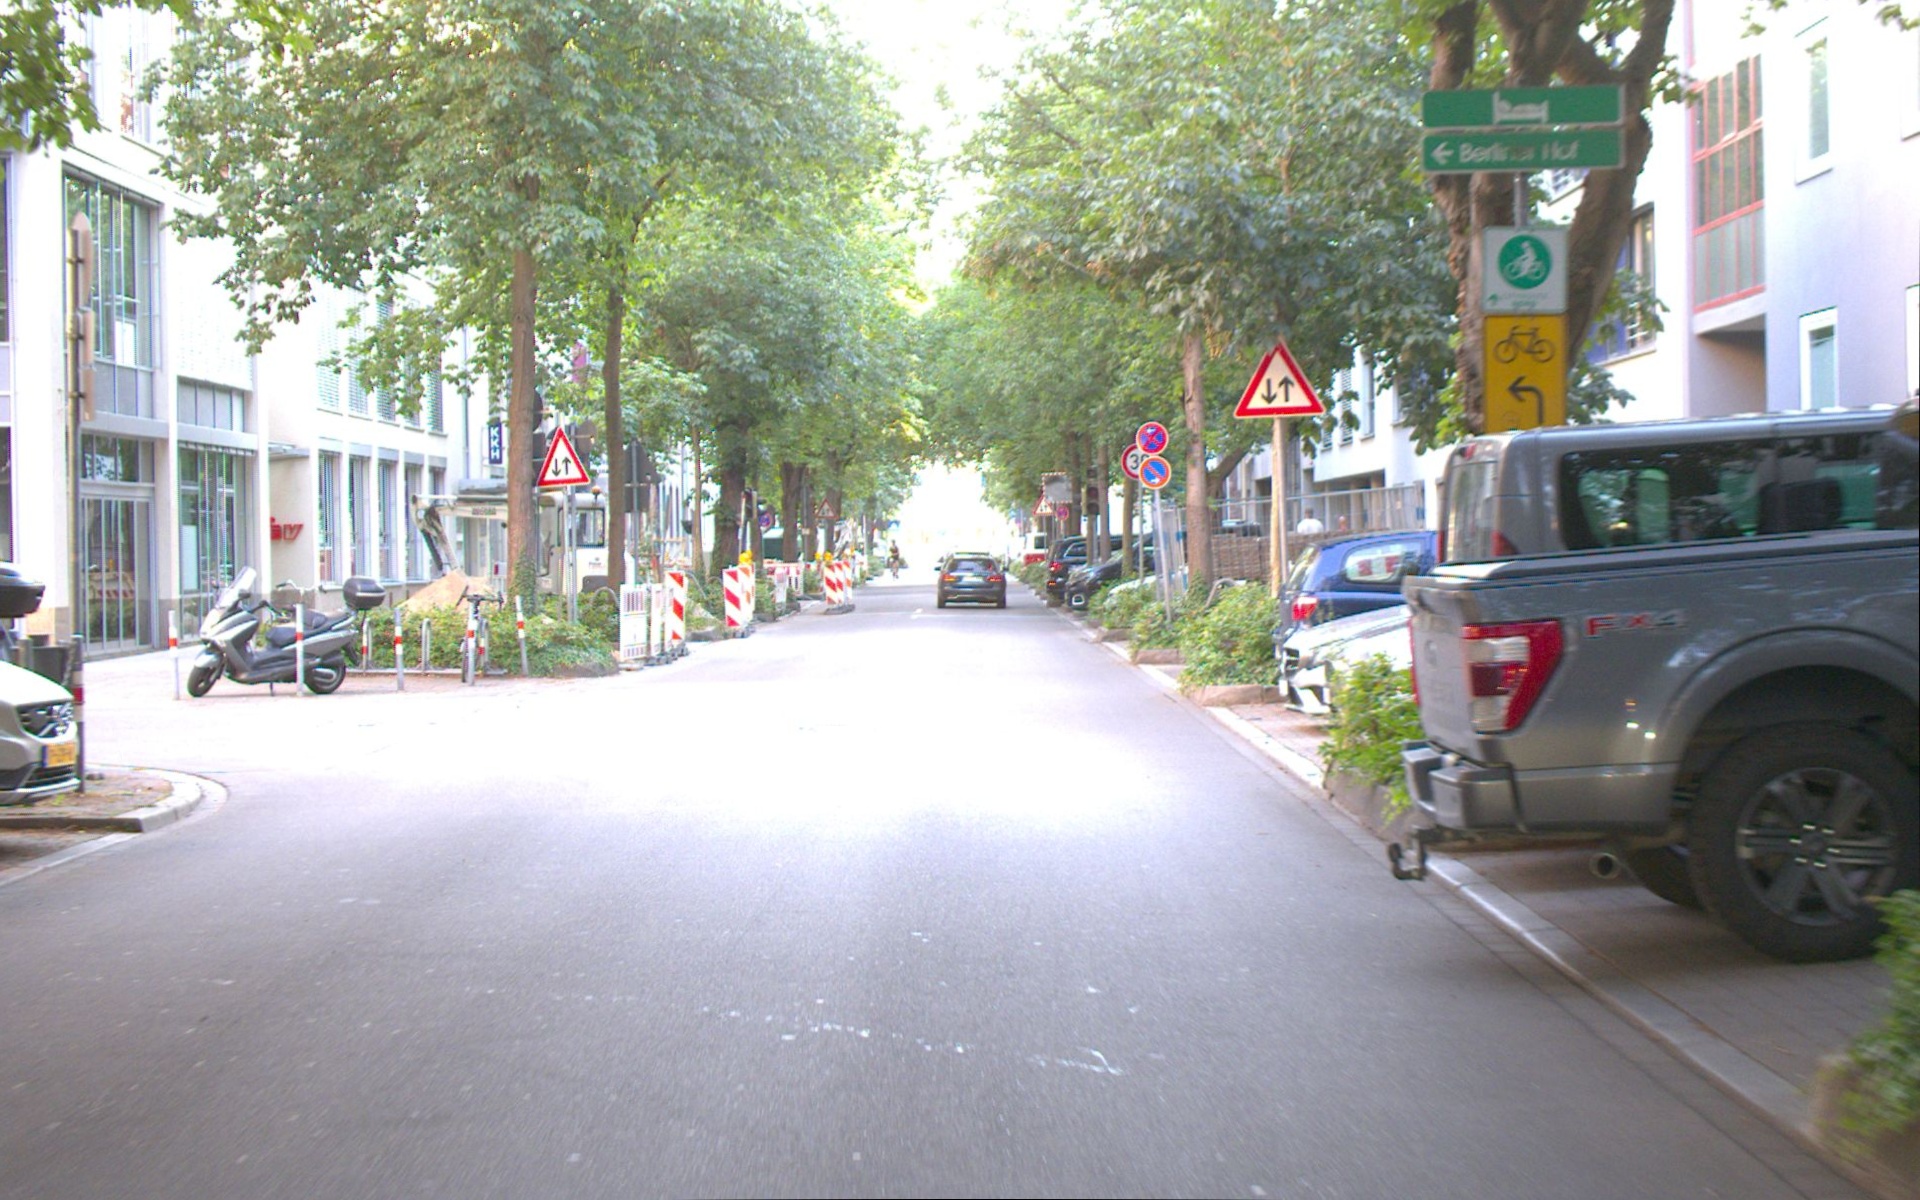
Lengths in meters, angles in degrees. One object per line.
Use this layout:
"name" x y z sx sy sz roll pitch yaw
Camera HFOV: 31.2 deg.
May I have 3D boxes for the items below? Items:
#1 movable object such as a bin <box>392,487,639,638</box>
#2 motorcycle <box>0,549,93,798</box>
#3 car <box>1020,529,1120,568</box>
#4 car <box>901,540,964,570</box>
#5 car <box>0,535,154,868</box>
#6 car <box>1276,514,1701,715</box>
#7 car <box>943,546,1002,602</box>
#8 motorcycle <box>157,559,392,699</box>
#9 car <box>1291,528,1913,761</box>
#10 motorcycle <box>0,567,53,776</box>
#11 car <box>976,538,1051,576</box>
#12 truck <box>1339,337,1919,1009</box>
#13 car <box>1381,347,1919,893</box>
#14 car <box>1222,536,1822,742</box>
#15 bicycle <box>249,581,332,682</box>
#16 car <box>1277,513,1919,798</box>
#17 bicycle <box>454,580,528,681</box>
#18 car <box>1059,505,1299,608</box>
"movable object such as a bin" -7.123 -0.614 55.430 3.665 2.325 2.583 -1 1 -1
"motorcycle" -6.496 0.448 20.963 2.217 1.488 0.691 -1 1 2
"car" 4.571 -2.139 143.434 3.986 1.592 2.000 -1 1 -3
"car" -1.845 -2.993 229.206 3.986 1.908 1.778 -1 1 -7
"car" -6.584 0.427 17.372 4.498 1.576 2.055 1 0 1
"car" 4.504 0.107 29.669 3.350 1.520 1.746 -3 1 1
"car" 0.320 -0.706 90.099 1.500 1.411 3.713 -1 1 0
"motorcycle" -7.384 0.292 37.122 2.372 1.436 0.801 -1 1 -39
"car" 4.524 0.293 24.633 4.067 1.558 1.854 -1 1 -2
"motorcycle" -7.220 0.473 23.267 2.221 1.369 0.722 0 1 31
"car" 2.939 -2.366 187.513 3.987 2.007 2.000 -1 1 2
"truck" 4.590 0.054 12.641 6.004 2.125 2.261 -5 1 0
"car" 4.380 -0.033 15.308 4.620 2.125 2.036 -4 1 0
"car" 4.378 0.273 27.081 4.278 1.503 1.872 -1 1 -9
"bicycle" -7.883 0.362 40.542 0.601 1.114 1.800 -1 2 0
"car" 4.527 0.316 21.896 4.795 1.698 1.836 -1 1 -2
"bicycle" -5.561 0.350 40.828 0.601 1.114 1.800 -1 2 0
"car" 4.615 -0.929 72.976 4.972 2.080 1.738 -1 1 1
